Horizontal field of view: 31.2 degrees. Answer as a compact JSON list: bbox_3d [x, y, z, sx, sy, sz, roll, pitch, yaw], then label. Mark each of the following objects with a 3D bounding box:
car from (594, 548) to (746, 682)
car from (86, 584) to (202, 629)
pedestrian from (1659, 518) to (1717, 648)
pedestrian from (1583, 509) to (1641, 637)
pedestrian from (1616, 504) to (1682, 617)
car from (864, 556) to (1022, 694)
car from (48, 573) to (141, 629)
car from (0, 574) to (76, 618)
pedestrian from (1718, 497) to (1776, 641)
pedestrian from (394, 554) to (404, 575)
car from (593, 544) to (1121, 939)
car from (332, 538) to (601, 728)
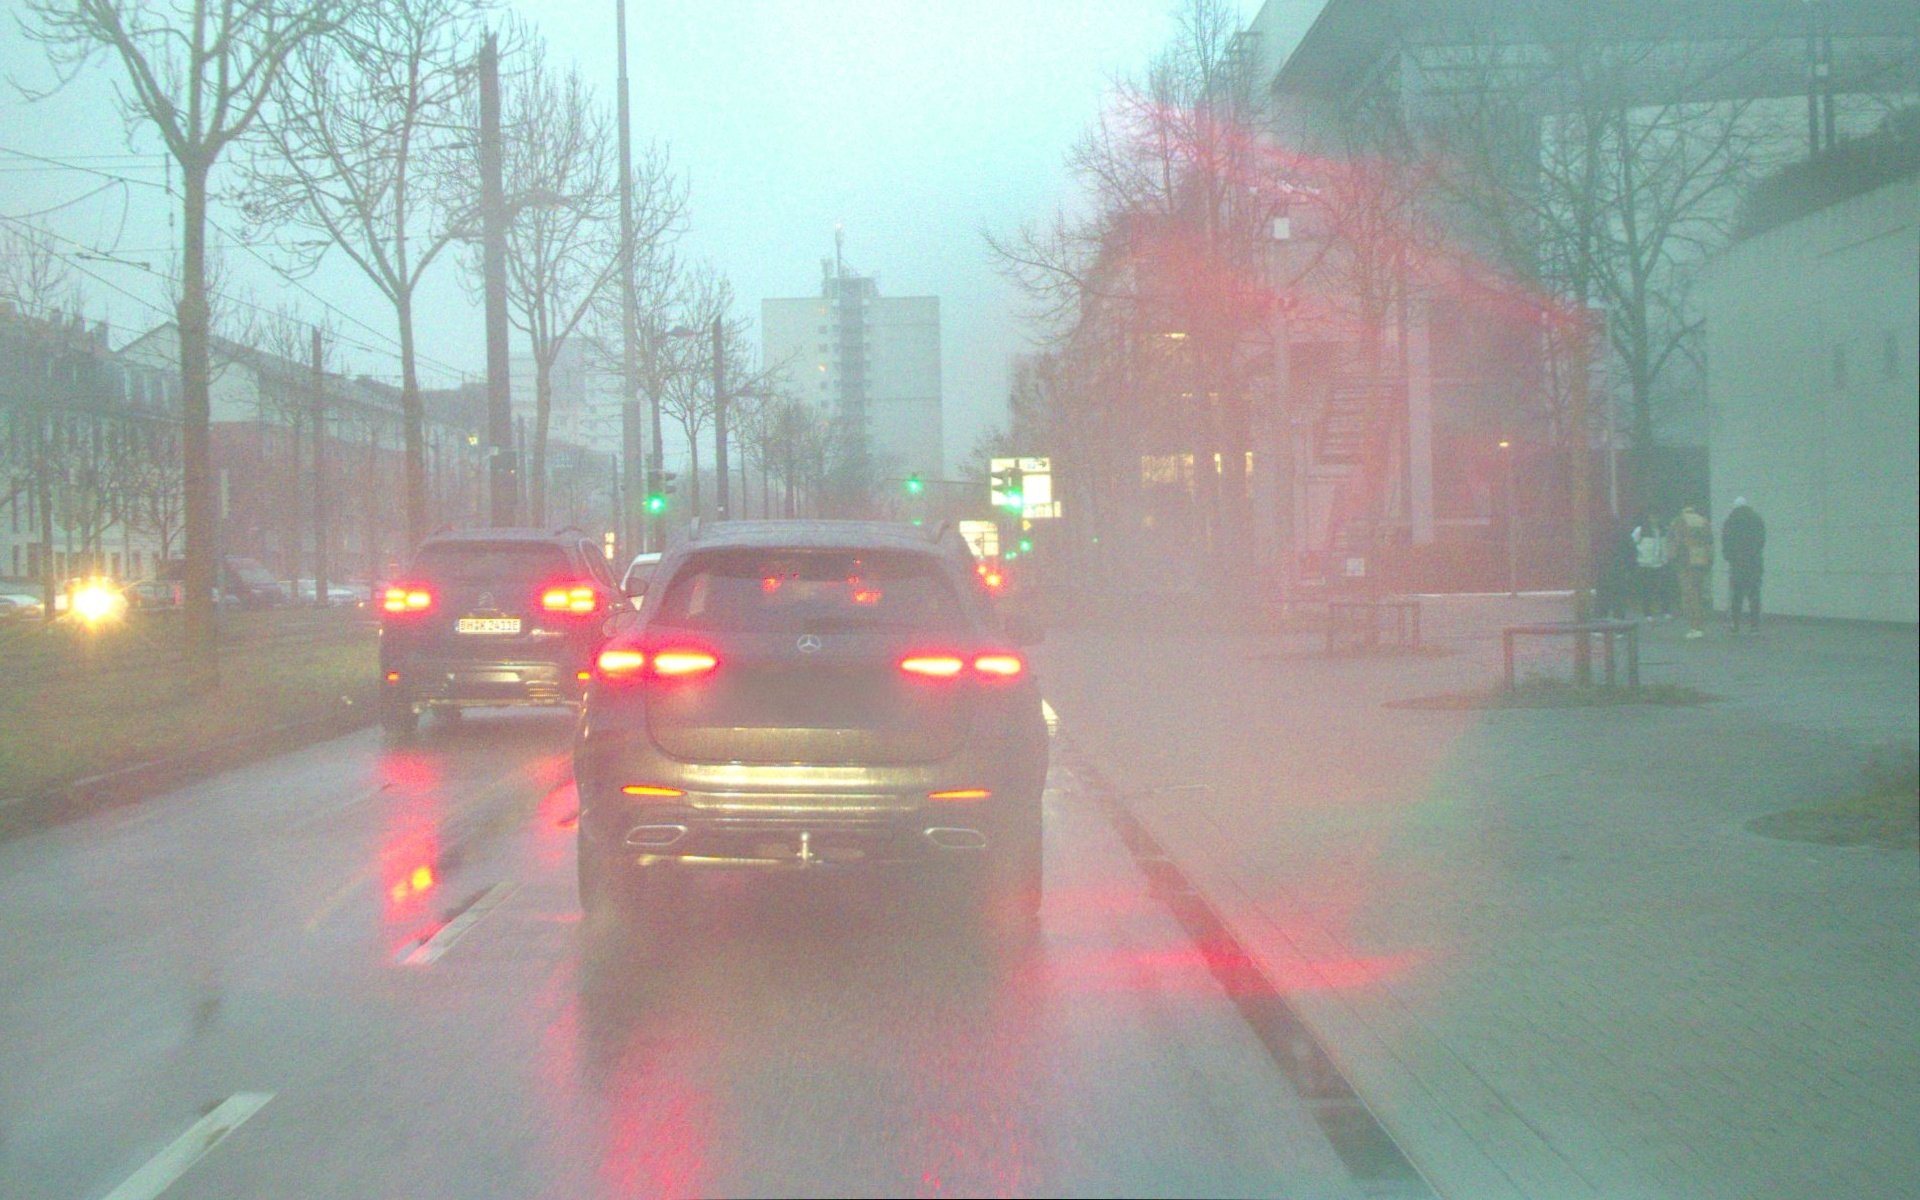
[{"bbox_3d":[-3.675,0.166,44.010,1.689,1.630,3.474,1,0,-1],"label":"car"},{"bbox_3d":[-29.080,0.221,122.498,4.158,1.536,1.666,1,1,36],"label":"car"},{"bbox_3d":[9.099,-0.215,42.946,0.673,1.606,0.614,1,0,13],"label":"pedestrian"},{"bbox_3d":[8.385,-0.351,44.214,0.673,1.619,0.614,1,0,15],"label":"pedestrian"},{"bbox_3d":[10.292,-0.580,51.374,0.667,1.649,0.995,-2,0,-6],"label":"pedestrian"},{"bbox_3d":[-0.232,0.281,42.634,1.854,1.630,3.474,1,0,-1],"label":"car"},{"bbox_3d":[-23.671,0.011,94.128,1.545,1.499,3.783,1,0,0],"label":"car"},{"bbox_3d":[-28.571,-0.139,103.393,3.839,1.241,1.734,1,1,35],"label":"car"},{"bbox_3d":[9.780,-0.386,42.732,0.673,1.772,0.614,1,0,13],"label":"pedestrian"},{"bbox_3d":[-32.127,-2.029,196.939,0.345,1.180,0.434,0,0,-41],"label":"pedestrian"},{"bbox_3d":[-0.421,0.531,14.929,1.993,1.478,3.700,1,0,-1],"label":"car"},{"bbox_3d":[-4.014,0.234,28.524,1.817,1.445,4.000,1,0,-3],"label":"car"}]
